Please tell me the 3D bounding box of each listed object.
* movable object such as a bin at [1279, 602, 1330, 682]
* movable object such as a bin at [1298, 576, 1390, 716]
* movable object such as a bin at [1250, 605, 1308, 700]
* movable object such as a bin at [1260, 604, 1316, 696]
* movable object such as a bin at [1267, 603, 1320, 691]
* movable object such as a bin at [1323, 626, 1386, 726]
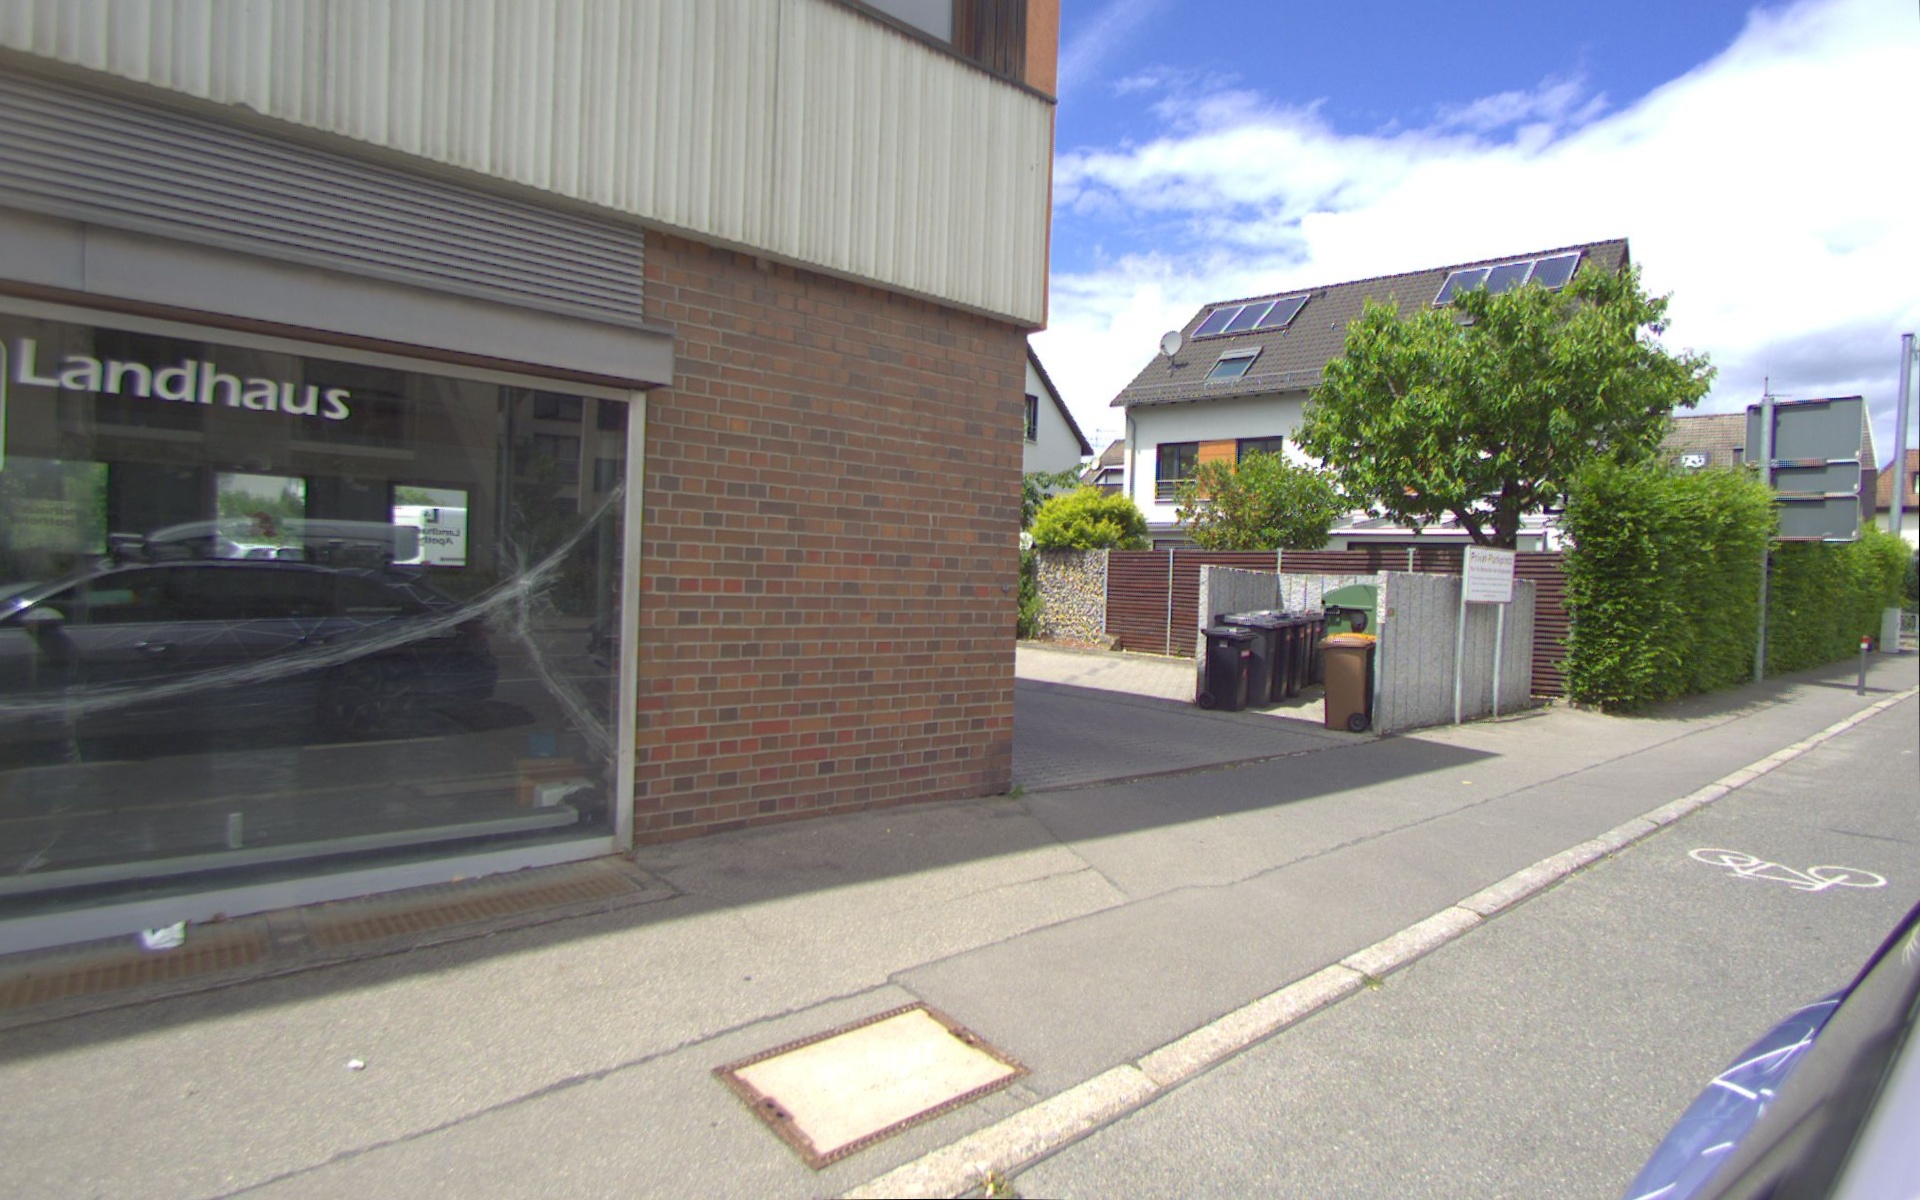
[{"bbox_3d":[4.860,0.579,14.281,0.591,1.088,0.484,1,1,30],"label":"movable object such as a bin"},{"bbox_3d":[4.212,0.478,11.124,0.471,1.473,0.808,0,1,-45],"label":"movable object such as a bin"},{"bbox_3d":[3.843,0.613,12.176,0.590,1.088,0.485,1,1,25],"label":"movable object such as a bin"},{"bbox_3d":[4.093,0.609,12.621,0.590,1.088,0.485,1,1,25],"label":"movable object such as a bin"},{"bbox_3d":[4.321,0.593,13.095,0.590,1.088,0.485,1,1,25],"label":"movable object such as a bin"},{"bbox_3d":[3.954,0.746,10.138,0.514,0.933,0.474,1,1,31],"label":"movable object such as a bin"}]
